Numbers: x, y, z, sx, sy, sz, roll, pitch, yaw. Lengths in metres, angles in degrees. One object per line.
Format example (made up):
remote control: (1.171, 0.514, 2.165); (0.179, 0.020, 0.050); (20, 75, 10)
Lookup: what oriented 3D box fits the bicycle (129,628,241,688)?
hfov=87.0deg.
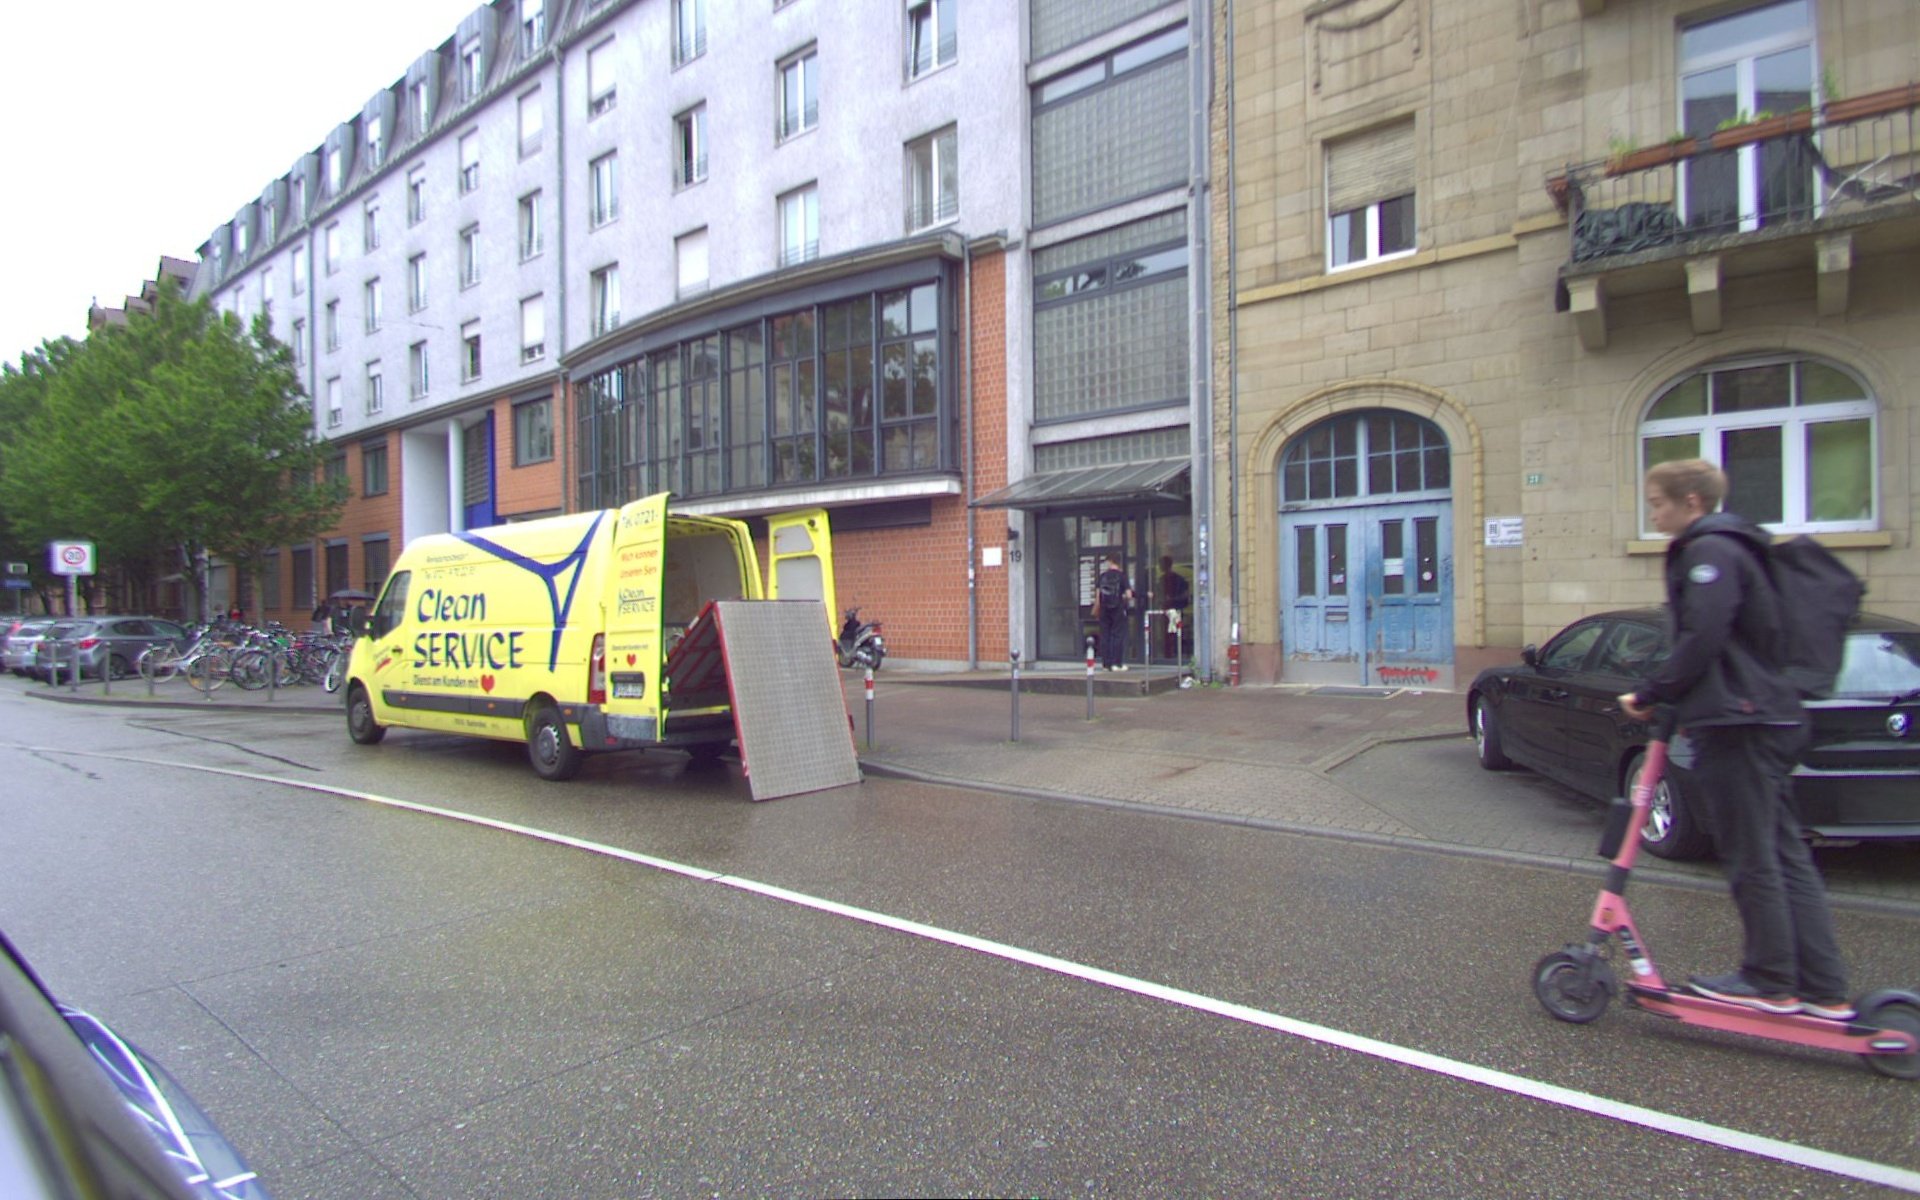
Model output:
bicycle: (-16.225, 1.194, 21.222); (0.472, 1.114, 1.791); (-1, 1, 35)

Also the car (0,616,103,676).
car: (-26.332, 1.277, 28.715); (1.432, 1.564, 3.078); (-2, 0, 0)

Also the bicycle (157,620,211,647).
bicycle: (-29.449, 1.264, 38.433); (0.464, 0.992, 1.573); (-1, -1, 32)

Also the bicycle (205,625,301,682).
bicycle: (-15.174, 1.134, 21.751); (0.519, 1.114, 1.591); (-1, 1, 35)

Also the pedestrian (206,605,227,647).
pedestrian: (-29.333, 1.024, 39.943); (0.372, 1.622, 0.598); (-1, -1, 39)

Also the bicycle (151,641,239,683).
bicycle: (-16.799, 1.347, 22.239); (0.497, 0.811, 1.454); (-1, 1, 43)

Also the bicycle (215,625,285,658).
bicycle: (-23.047, 1.334, 32.874); (0.444, 0.992, 1.831); (-1, -1, 32)

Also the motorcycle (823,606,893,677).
motorcycle: (-1.845, 0.710, 18.094); (0.516, 1.190, 1.763); (-1, 0, -30)

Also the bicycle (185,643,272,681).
bicycle: (-16.021, 1.344, 22.191); (0.497, 0.727, 1.454); (-1, 1, 43)

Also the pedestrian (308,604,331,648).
pedestrian: (-22.478, 0.909, 35.528); (0.547, 1.541, 0.509); (-1, -2, 37)

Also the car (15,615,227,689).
car: (-19.520, 1.152, 23.744); (1.720, 1.514, 3.614); (0, 0, 9)

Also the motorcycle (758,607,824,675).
motorcycle: (-3.199, 0.746, 19.042); (0.516, 1.190, 2.010); (-1, 0, -30)

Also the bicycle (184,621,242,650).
bicycle: (-26.238, 1.241, 35.566); (0.464, 0.992, 1.573); (-1, -1, 32)

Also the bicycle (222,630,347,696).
bicycle: (-12.462, 1.142, 18.708); (1.832, 1.081, 0.610); (-2, 1, -45)

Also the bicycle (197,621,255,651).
bicycle: (-25.281, 1.235, 34.895); (0.444, 0.992, 1.573); (-1, -1, 32)

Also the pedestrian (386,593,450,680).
pedestrian: (-11.265, 0.741, 21.026); (0.859, 1.719, 0.817); (-1, 3, 41)

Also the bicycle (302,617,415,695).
bicycle: (-10.890, 0.986, 18.418); (0.760, 1.225, 1.917); (0, 2, 5)

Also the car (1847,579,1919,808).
car: (7.253, 0.623, 5.537); (1.780, 1.585, 4.029); (-1, -1, 11)

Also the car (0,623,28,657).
car: (-43.153, 1.771, 44.316); (1.662, 1.502, 3.798); (0, -1, -10)

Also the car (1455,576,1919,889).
car: (5.059, 0.668, 6.904); (1.777, 1.523, 4.034); (-1, -1, 7)

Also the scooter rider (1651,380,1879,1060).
scooter rider: (2.636, 0.345, 3.344); (0.503, 1.950, 0.704); (-1, -2, 38)

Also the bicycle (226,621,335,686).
bicycle: (-13.736, 1.059, 20.517); (0.517, 1.203, 1.798); (-1, 1, 27)

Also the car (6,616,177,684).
car: (-21.818, 1.217, 25.554); (1.436, 1.514, 3.070); (-2, 0, 9)

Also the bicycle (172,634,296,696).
bicycle: (-13.465, 1.178, 18.813); (0.519, 1.000, 1.778); (-1, 1, 38)

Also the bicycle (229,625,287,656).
bicycle: (-23.504, 1.347, 33.912); (0.444, 0.992, 1.573); (-1, -1, 32)

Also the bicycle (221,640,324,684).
bicycle: (-14.170, 1.267, 20.910); (0.455, 0.767, 1.757); (-1, 1, 27)

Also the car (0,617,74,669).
car: (-30.608, 1.386, 32.543); (1.358, 1.567, 2.971); (-2, 0, 11)

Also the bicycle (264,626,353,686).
bicycle: (-12.948, 1.095, 20.120); (1.439, 1.111, 0.462); (-2, 1, -36)

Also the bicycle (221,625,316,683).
bicycle: (-14.606, 1.115, 21.419); (0.517, 1.114, 1.596); (-1, 1, 27)

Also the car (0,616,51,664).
car: (-32.717, 1.380, 34.318); (1.138, 1.567, 2.672); (-2, 0, 11)

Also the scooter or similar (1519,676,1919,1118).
scooter or similar: (2.675, 0.873, 3.303); (1.383, 1.174, 0.694); (-1, -2, 39)

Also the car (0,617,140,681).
car: (-23.916, 1.265, 27.109); (1.432, 1.514, 3.078); (-2, 0, 0)

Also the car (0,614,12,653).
car: (-48.365, 1.628, 48.606); (1.666, 1.910, 4.330); (0, -1, -1)

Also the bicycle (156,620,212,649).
bicycle: (-28.187, 1.251, 36.781); (0.464, 0.992, 1.573); (-1, -1, 32)

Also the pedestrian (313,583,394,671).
pedestrian: (-14.056, 0.611, 23.450); (1.054, 1.894, 1.213); (-1, 3, 40)

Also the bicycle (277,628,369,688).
bicycle: (-12.344, 1.103, 19.636); (0.418, 1.072, 1.442); (-1, 1, 44)

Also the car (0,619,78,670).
car: (-28.738, 1.348, 31.041); (1.177, 1.461, 2.502); (-2, 0, 0)

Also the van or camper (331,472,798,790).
van or camper: (-4.575, 0.319, 11.097); (5.936, 2.631, 2.174); (-1, -2, 40)

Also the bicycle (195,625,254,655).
bicycle: (-24.944, 1.343, 34.327); (0.444, 0.992, 1.573); (-1, -1, 32)

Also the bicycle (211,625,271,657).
bicycle: (-23.487, 1.335, 33.085); (0.444, 0.992, 1.573); (-1, -1, 32)

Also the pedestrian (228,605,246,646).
pedestrian: (-28.715, 1.006, 40.197); (0.425, 1.622, 0.508); (-1, -1, 41)

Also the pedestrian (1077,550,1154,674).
pedestrian: (2.300, 0.175, 14.920); (0.785, 1.741, 0.997); (-1, -1, 31)

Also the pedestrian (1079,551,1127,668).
pedestrian: (2.196, 0.152, 15.603); (0.467, 1.761, 0.608); (0, -2, -24)
